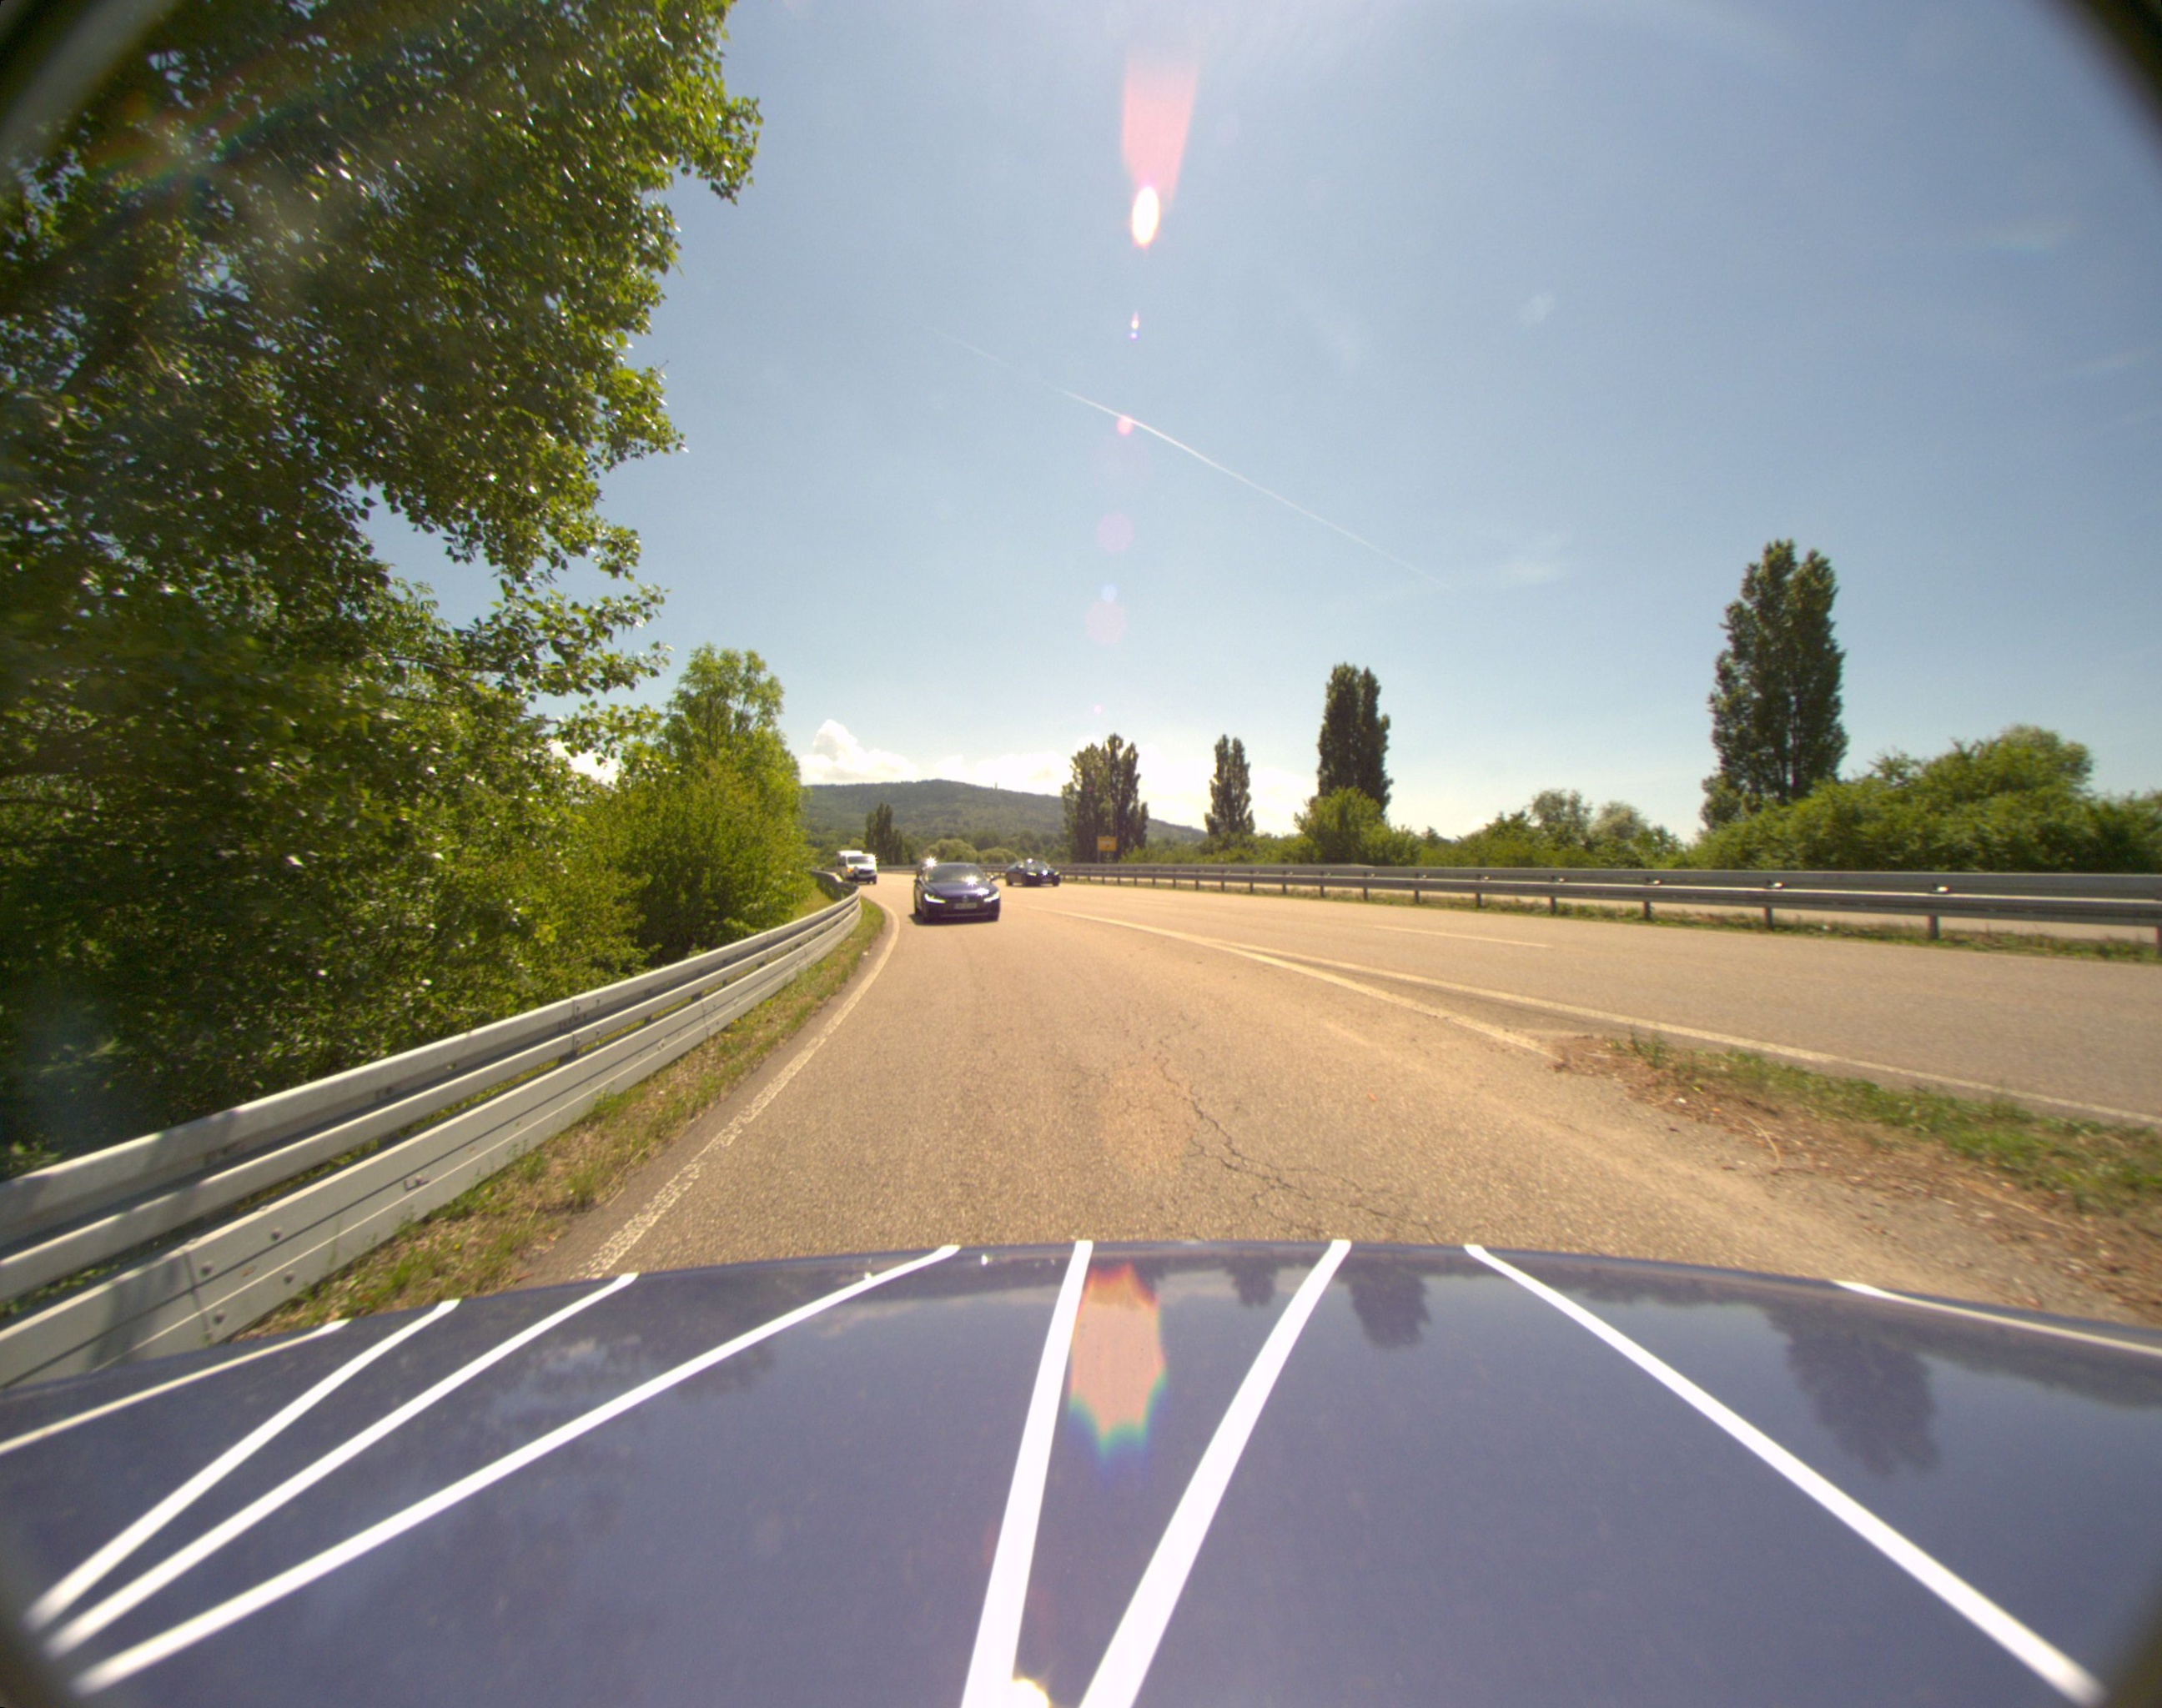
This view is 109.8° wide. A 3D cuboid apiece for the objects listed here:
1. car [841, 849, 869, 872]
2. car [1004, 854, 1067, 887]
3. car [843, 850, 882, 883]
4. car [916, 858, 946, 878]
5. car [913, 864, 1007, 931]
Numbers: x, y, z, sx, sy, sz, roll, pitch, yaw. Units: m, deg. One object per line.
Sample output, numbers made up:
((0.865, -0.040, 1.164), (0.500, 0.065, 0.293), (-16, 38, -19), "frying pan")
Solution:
((-19.842, 0.558, 66.527), (2.002, 1.939, 4.636), (-2, 1, -20), "car")
((-2.486, 0.822, 40.052), (2.002, 1.564, 4.636), (-2, 0, -20), "car")
((-14.205, 0.793, 49.297), (2.002, 1.939, 4.636), (-2, 1, -20), "car")
((-13.191, 1.202, 66.608), (1.833, 1.602, 3.993), (-3, 0, -21), "car")
((-3.220, 1.017, 19.493), (1.845, 1.422, 4.527), (-1, 0, -16), "car")
